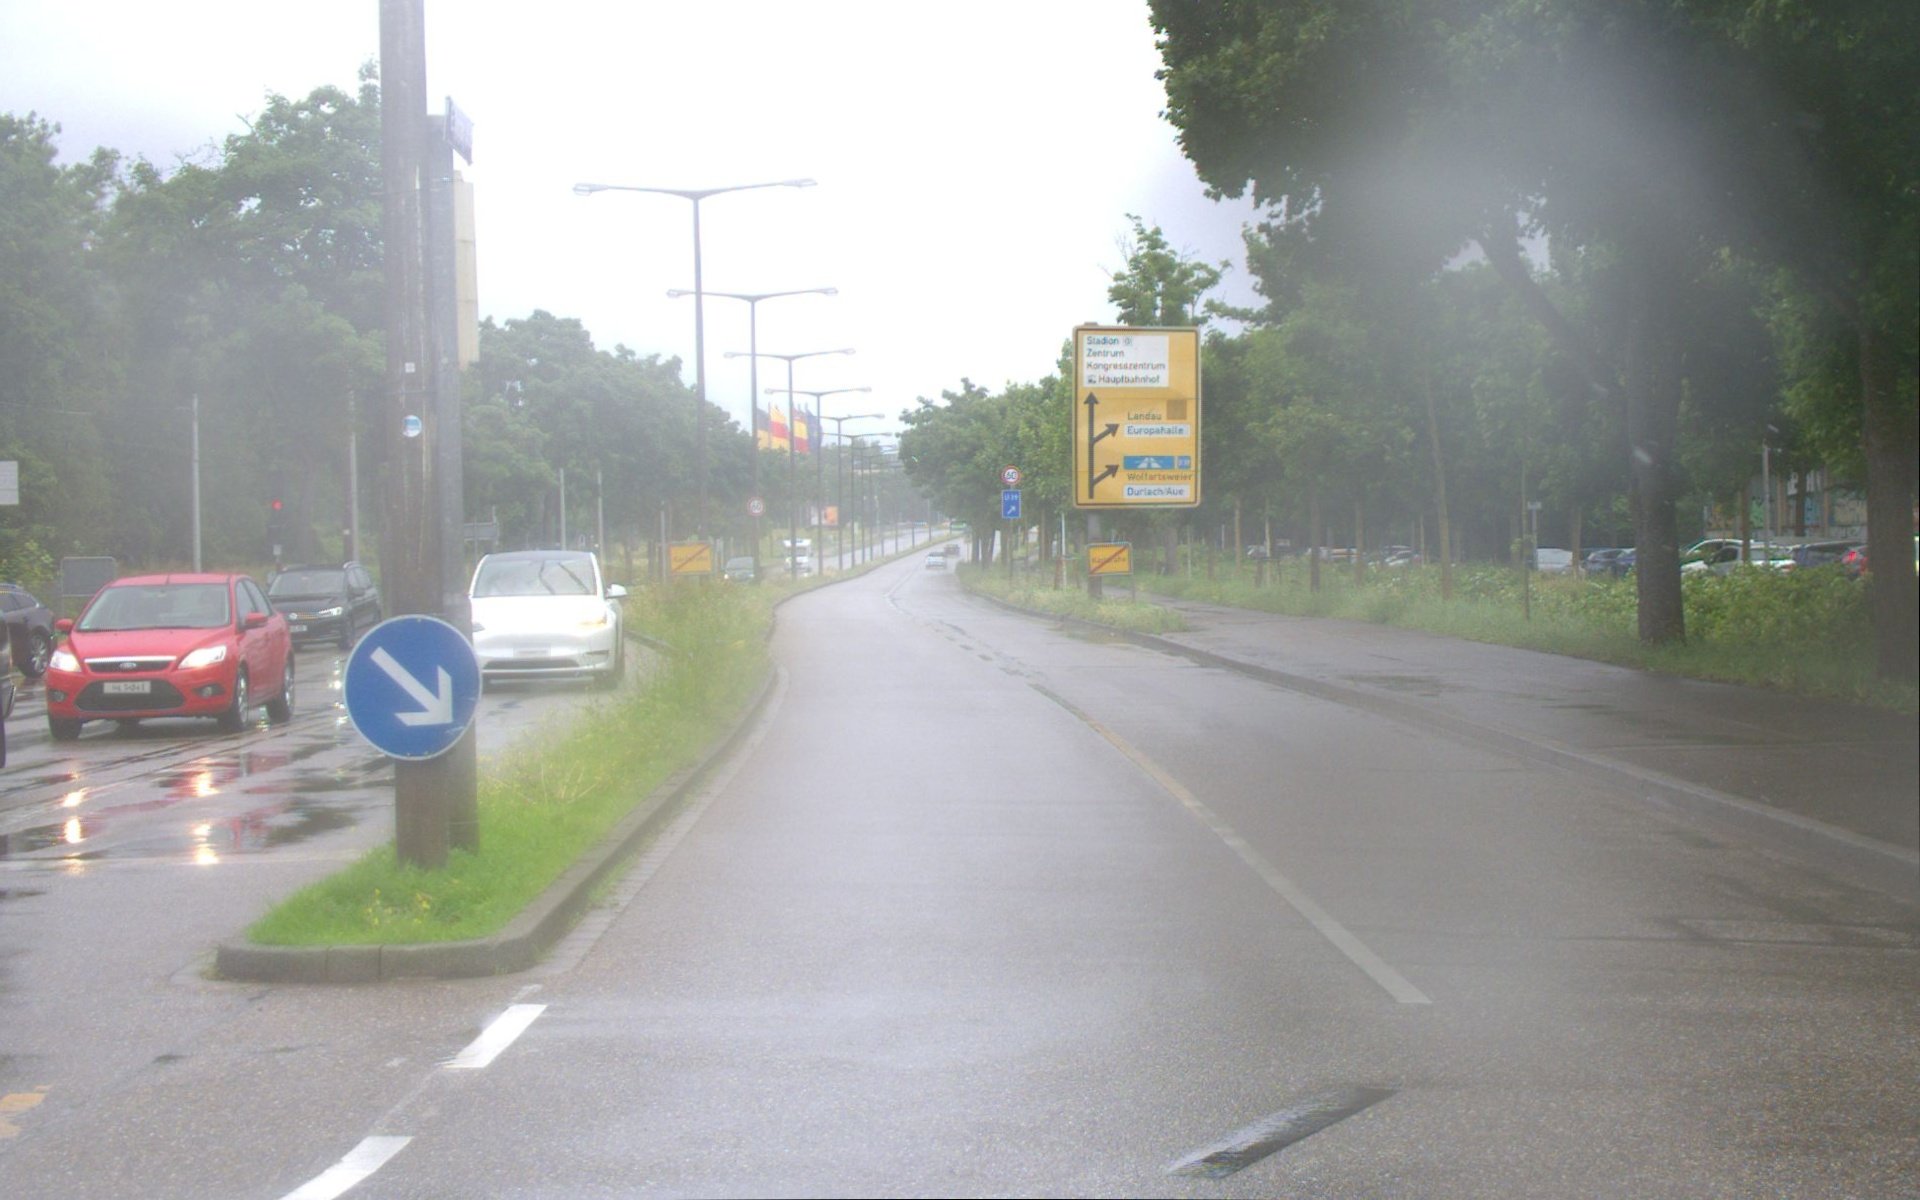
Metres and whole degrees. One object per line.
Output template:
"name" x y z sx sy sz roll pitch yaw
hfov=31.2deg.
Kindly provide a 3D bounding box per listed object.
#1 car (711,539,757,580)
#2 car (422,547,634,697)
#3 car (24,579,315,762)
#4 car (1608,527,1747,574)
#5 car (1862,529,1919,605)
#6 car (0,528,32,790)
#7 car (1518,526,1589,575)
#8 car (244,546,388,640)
"car" -9.917 -1.790 151.180 1.743 1.644 4.136 -3 1 -1
"car" -5.067 0.215 40.936 1.961 1.611 4.697 -1 1 -1
"car" -7.499 0.623 33.031 1.801 1.564 4.429 -2 0 -1
"car" 26.453 -1.820 126.815 4.569 1.639 2.000 1 0 -6
"car" 19.452 -0.651 68.593 1.637 1.481 4.073 1 0 -3
"car" -7.390 0.464 21.473 1.805 1.767 5.089 -2 1 -1
"car" 19.468 -1.631 112.907 1.745 1.440 4.122 -1 2 2
"car" -12.170 -0.156 65.203 1.707 1.636 4.331 -3 1 2
